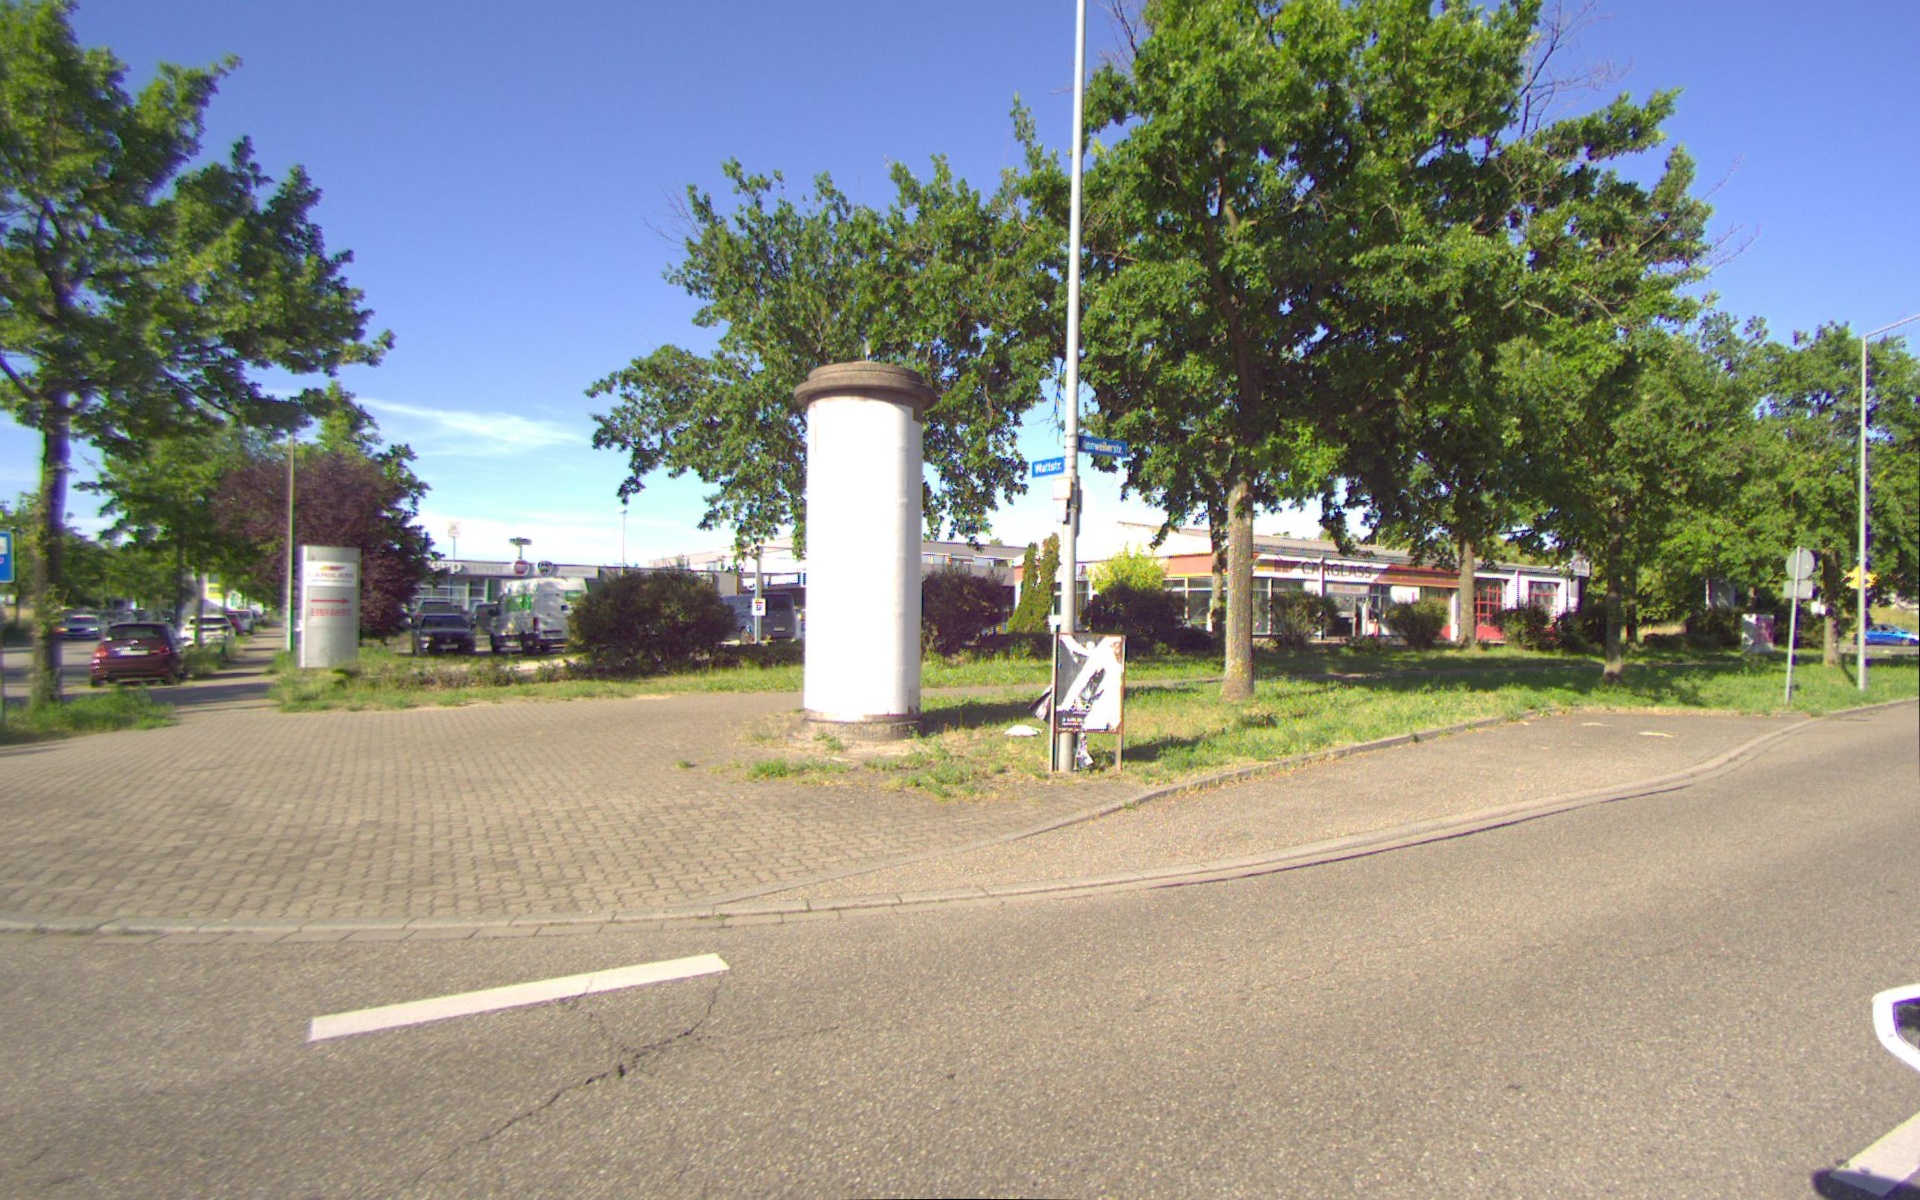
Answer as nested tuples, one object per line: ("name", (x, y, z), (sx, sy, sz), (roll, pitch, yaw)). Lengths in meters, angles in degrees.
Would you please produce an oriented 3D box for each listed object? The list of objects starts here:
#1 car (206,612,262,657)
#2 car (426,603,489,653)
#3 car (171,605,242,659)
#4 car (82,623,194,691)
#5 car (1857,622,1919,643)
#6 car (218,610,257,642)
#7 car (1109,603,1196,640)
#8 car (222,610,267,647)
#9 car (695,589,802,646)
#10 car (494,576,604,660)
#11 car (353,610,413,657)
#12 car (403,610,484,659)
("car", (-38.672, 1.814, 53.579), (2.278, 2.132, 5.308), (2, 0, -35))
("car", (-22.213, 1.200, 44.328), (1.867, 1.992, 4.210), (2, 0, -35))
("car", (-32.986, 1.350, 44.100), (2.278, 2.132, 5.308), (2, 0, -35))
("car", (-20.185, 1.339, 24.811), (1.806, 1.501, 4.163), (0, -1, -35))
("car", (66.885, 2.340, 71.869), (1.669, 1.403, 3.814), (2, 0, -40))
("car", (-52.329, 1.886, 72.850), (2.183, 2.132, 4.895), (2, 0, -35))
("car", (8.251, 0.932, 43.305), (1.578, 1.518, 3.570), (2, -1, -36))
("car", (-45.081, 1.787, 63.366), (2.183, 2.132, 4.895), (2, 0, -35))
("car", (-8.536, 0.703, 40.128), (2.278, 2.097, 5.373), (1, -1, -35))
("car", (-14.676, 0.573, 35.607), (2.278, 2.738, 6.118), (2, 0, -35))
("car", (-24.651, 1.388, 42.849), (1.867, 1.910, 4.211), (1, -1, -35))
("car", (-17.834, 1.156, 34.583), (1.867, 1.571, 4.615), (1, -1, -35))
